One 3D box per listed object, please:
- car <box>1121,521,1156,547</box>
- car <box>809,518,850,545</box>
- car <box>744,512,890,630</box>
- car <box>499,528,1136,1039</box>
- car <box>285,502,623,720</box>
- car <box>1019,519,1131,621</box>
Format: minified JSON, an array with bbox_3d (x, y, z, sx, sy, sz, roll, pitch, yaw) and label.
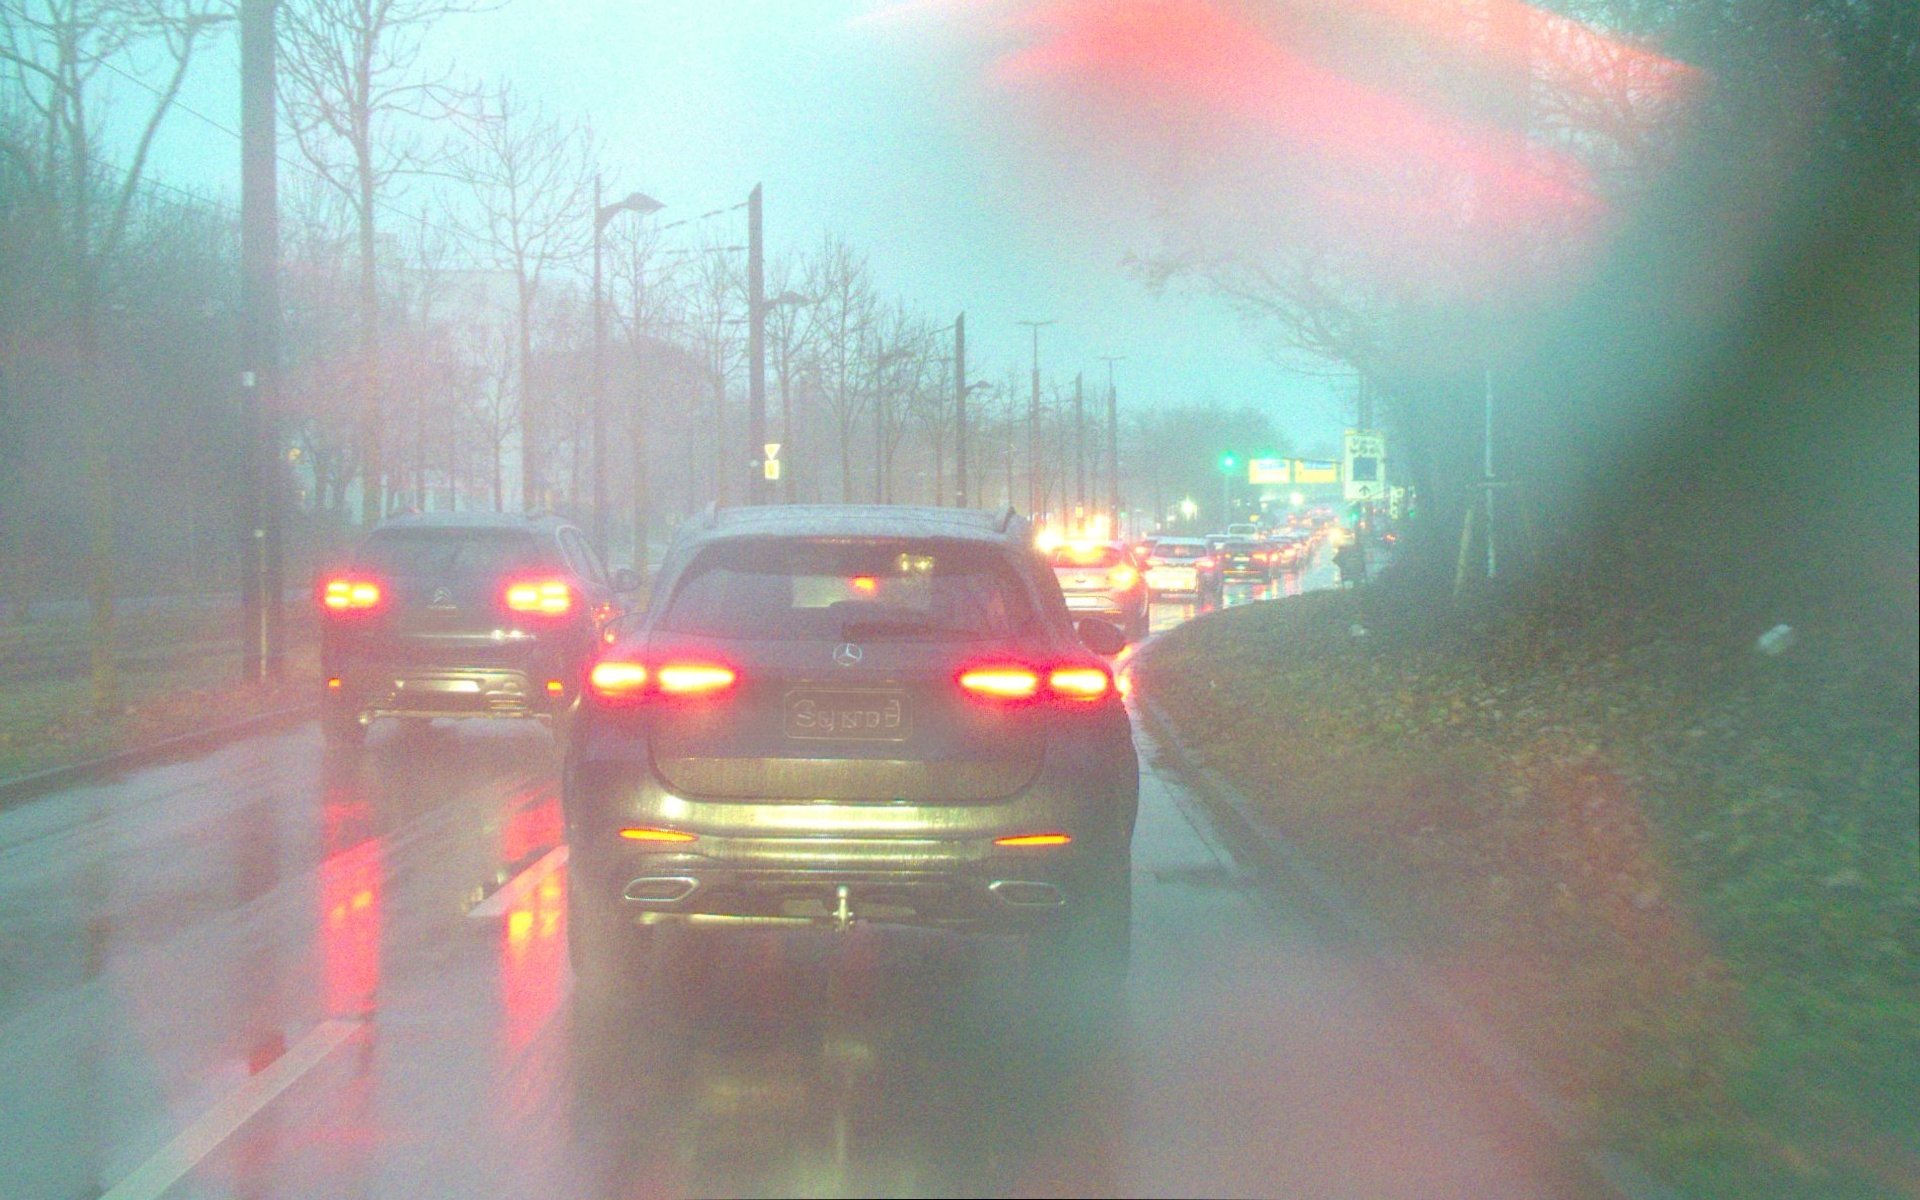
[{"bbox_3d":[11.785,-4.345,227.008,1.994,1.660,3.835,0,1,7],"label":"car"},{"bbox_3d":[-8.350,-4.359,219.927,1.994,1.652,3.999,1,1,7],"label":"car"},{"bbox_3d":[-1.988,-0.451,48.852,1.880,1.588,4.000,0,2,0],"label":"car"},{"bbox_3d":[-0.453,0.538,12.842,1.998,1.578,4.000,0,1,0],"label":"car"},{"bbox_3d":[-3.592,0.016,25.077,1.880,1.454,4.000,0,2,0],"label":"car"},{"bbox_3d":[1.835,-0.498,54.830,1.709,1.552,3.996,0,1,2],"label":"car"}]
